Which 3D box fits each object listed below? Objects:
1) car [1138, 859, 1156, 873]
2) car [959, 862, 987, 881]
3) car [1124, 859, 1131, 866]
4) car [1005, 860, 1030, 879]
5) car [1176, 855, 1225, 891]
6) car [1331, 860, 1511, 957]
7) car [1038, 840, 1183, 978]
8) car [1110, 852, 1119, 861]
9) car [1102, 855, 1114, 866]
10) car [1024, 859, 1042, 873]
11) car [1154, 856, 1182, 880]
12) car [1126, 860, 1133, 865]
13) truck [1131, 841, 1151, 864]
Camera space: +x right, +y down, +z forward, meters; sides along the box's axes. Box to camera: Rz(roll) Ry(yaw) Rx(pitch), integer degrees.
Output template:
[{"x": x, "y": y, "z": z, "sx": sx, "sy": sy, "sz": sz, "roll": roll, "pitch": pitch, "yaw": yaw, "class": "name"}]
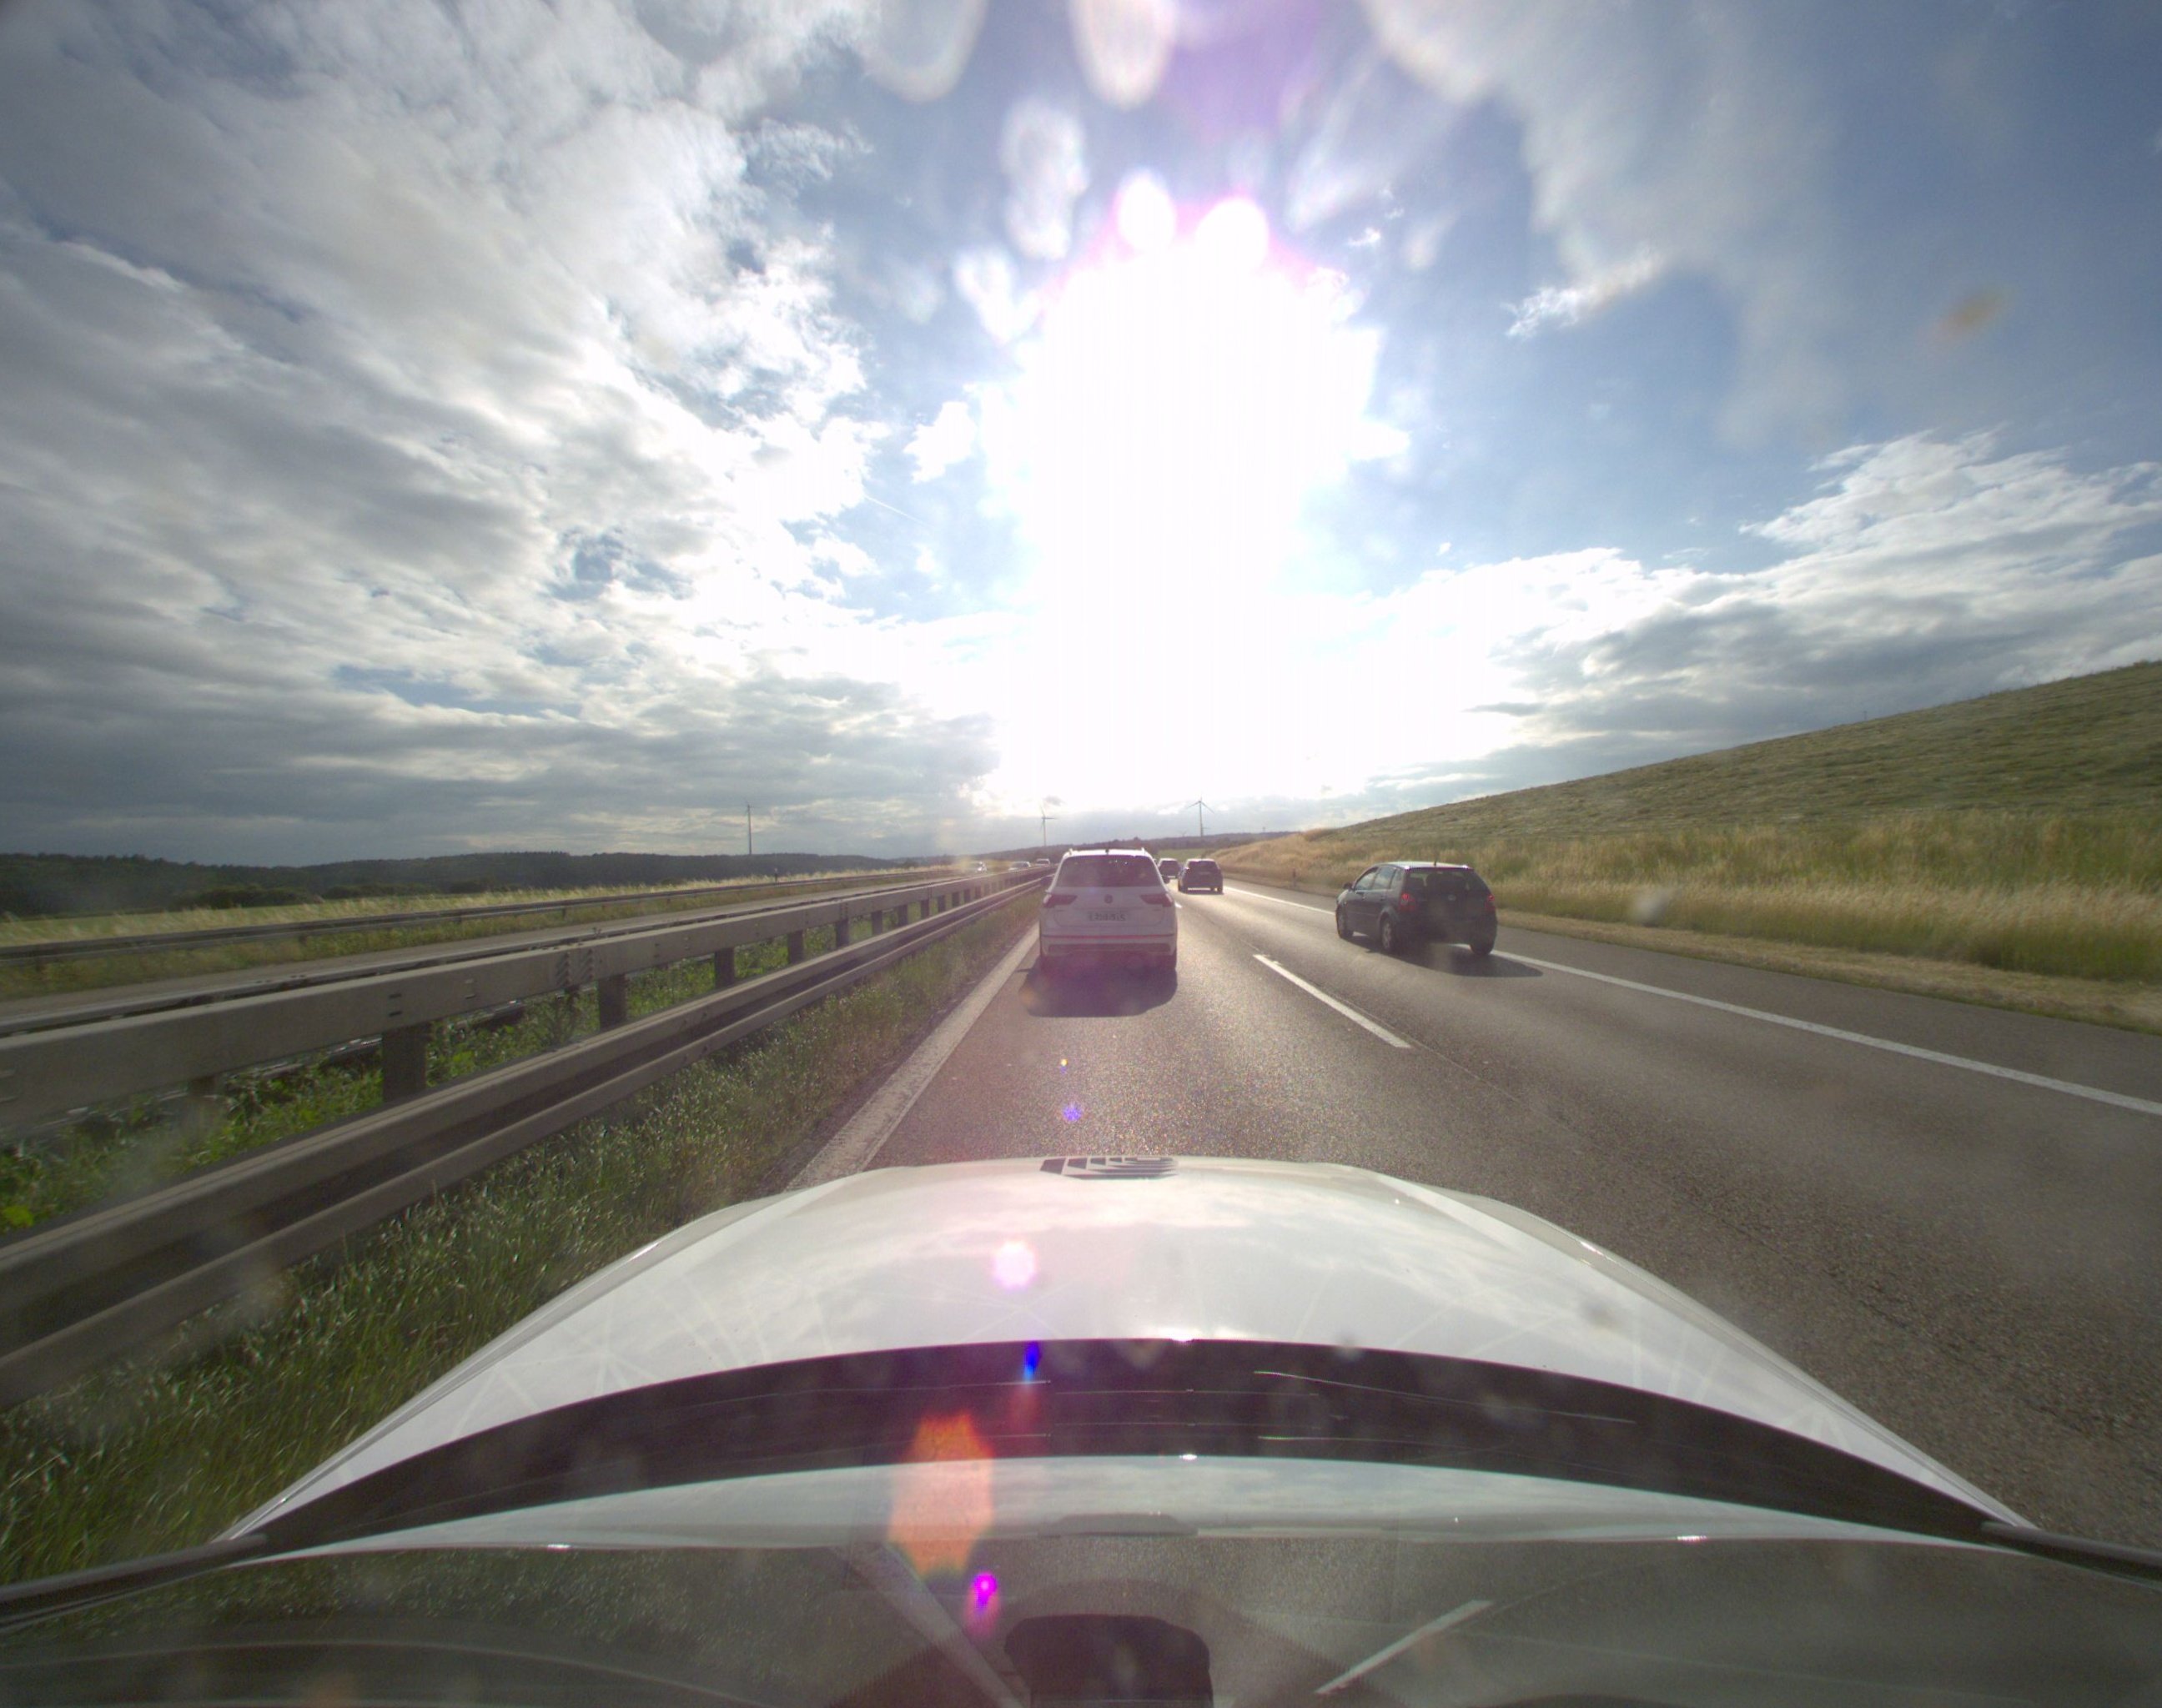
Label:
[{"x": 7.082, "y": 1.284, "z": 87.962, "sx": 1.698, "sy": 1.546, "sz": 4.001, "roll": 0, "pitch": -1, "yaw": 1, "class": "car"}, {"x": -9.124, "y": 1.463, "z": 68.907, "sx": 1.744, "sy": 1.479, "sz": 4.480, "roll": 0, "pitch": -1, "yaw": 0, "class": "car"}, {"x": 10.800, "y": 1.965, "z": 189.295, "sx": 1.698, "sy": 1.546, "sz": 4.001, "roll": 0, "pitch": -1, "yaw": 1, "class": "car"}, {"x": -5.475, "y": 1.333, "z": 70.524, "sx": 1.744, "sy": 1.521, "sz": 4.480, "roll": 0, "pitch": -1, "yaw": 0, "class": "car"}, {"x": 5.330, "y": 0.835, "z": 36.665, "sx": 1.698, "sy": 1.546, "sz": 4.001, "roll": 0, "pitch": -1, "yaw": 1, "class": "car"}, {"x": 5.567, "y": 0.821, "z": 13.831, "sx": 1.600, "sy": 1.420, "sz": 3.673, "roll": 0, "pitch": -1, "yaw": 1, "class": "car"}, {"x": 0.417, "y": 0.696, "z": 12.006, "sx": 1.763, "sy": 1.676, "sz": 4.001, "roll": 0, "pitch": -1, "yaw": 1, "class": "car"}, {"x": 6.413, "y": 0.495, "z": 154.819, "sx": 1.698, "sy": 1.546, "sz": 4.001, "roll": 0, "pitch": -1, "yaw": 1, "class": "car"}, {"x": 4.132, "y": 0.991, "z": 125.069, "sx": 1.698, "sy": 1.650, "sz": 4.001, "roll": 0, "pitch": -1, "yaw": 1, "class": "car"}, {"x": -5.505, "y": 1.408, "z": 93.797, "sx": 1.744, "sy": 1.603, "sz": 4.266, "roll": 0, "pitch": -1, "yaw": 0, "class": "car"}, {"x": 6.390, "y": 1.008, "z": 59.975, "sx": 1.698, "sy": 1.650, "sz": 4.001, "roll": 0, "pitch": -1, "yaw": 1, "class": "car"}, {"x": 13.206, "y": 2.321, "z": 221.055, "sx": 1.698, "sy": 1.546, "sz": 4.001, "roll": 0, "pitch": -1, "yaw": 1, "class": "car"}, {"x": 9.979, "y": -0.254, "z": 135.748, "sx": 3.170, "sy": 3.594, "sz": 11.140, "roll": 0, "pitch": 0, "yaw": 3, "class": "truck"}]
